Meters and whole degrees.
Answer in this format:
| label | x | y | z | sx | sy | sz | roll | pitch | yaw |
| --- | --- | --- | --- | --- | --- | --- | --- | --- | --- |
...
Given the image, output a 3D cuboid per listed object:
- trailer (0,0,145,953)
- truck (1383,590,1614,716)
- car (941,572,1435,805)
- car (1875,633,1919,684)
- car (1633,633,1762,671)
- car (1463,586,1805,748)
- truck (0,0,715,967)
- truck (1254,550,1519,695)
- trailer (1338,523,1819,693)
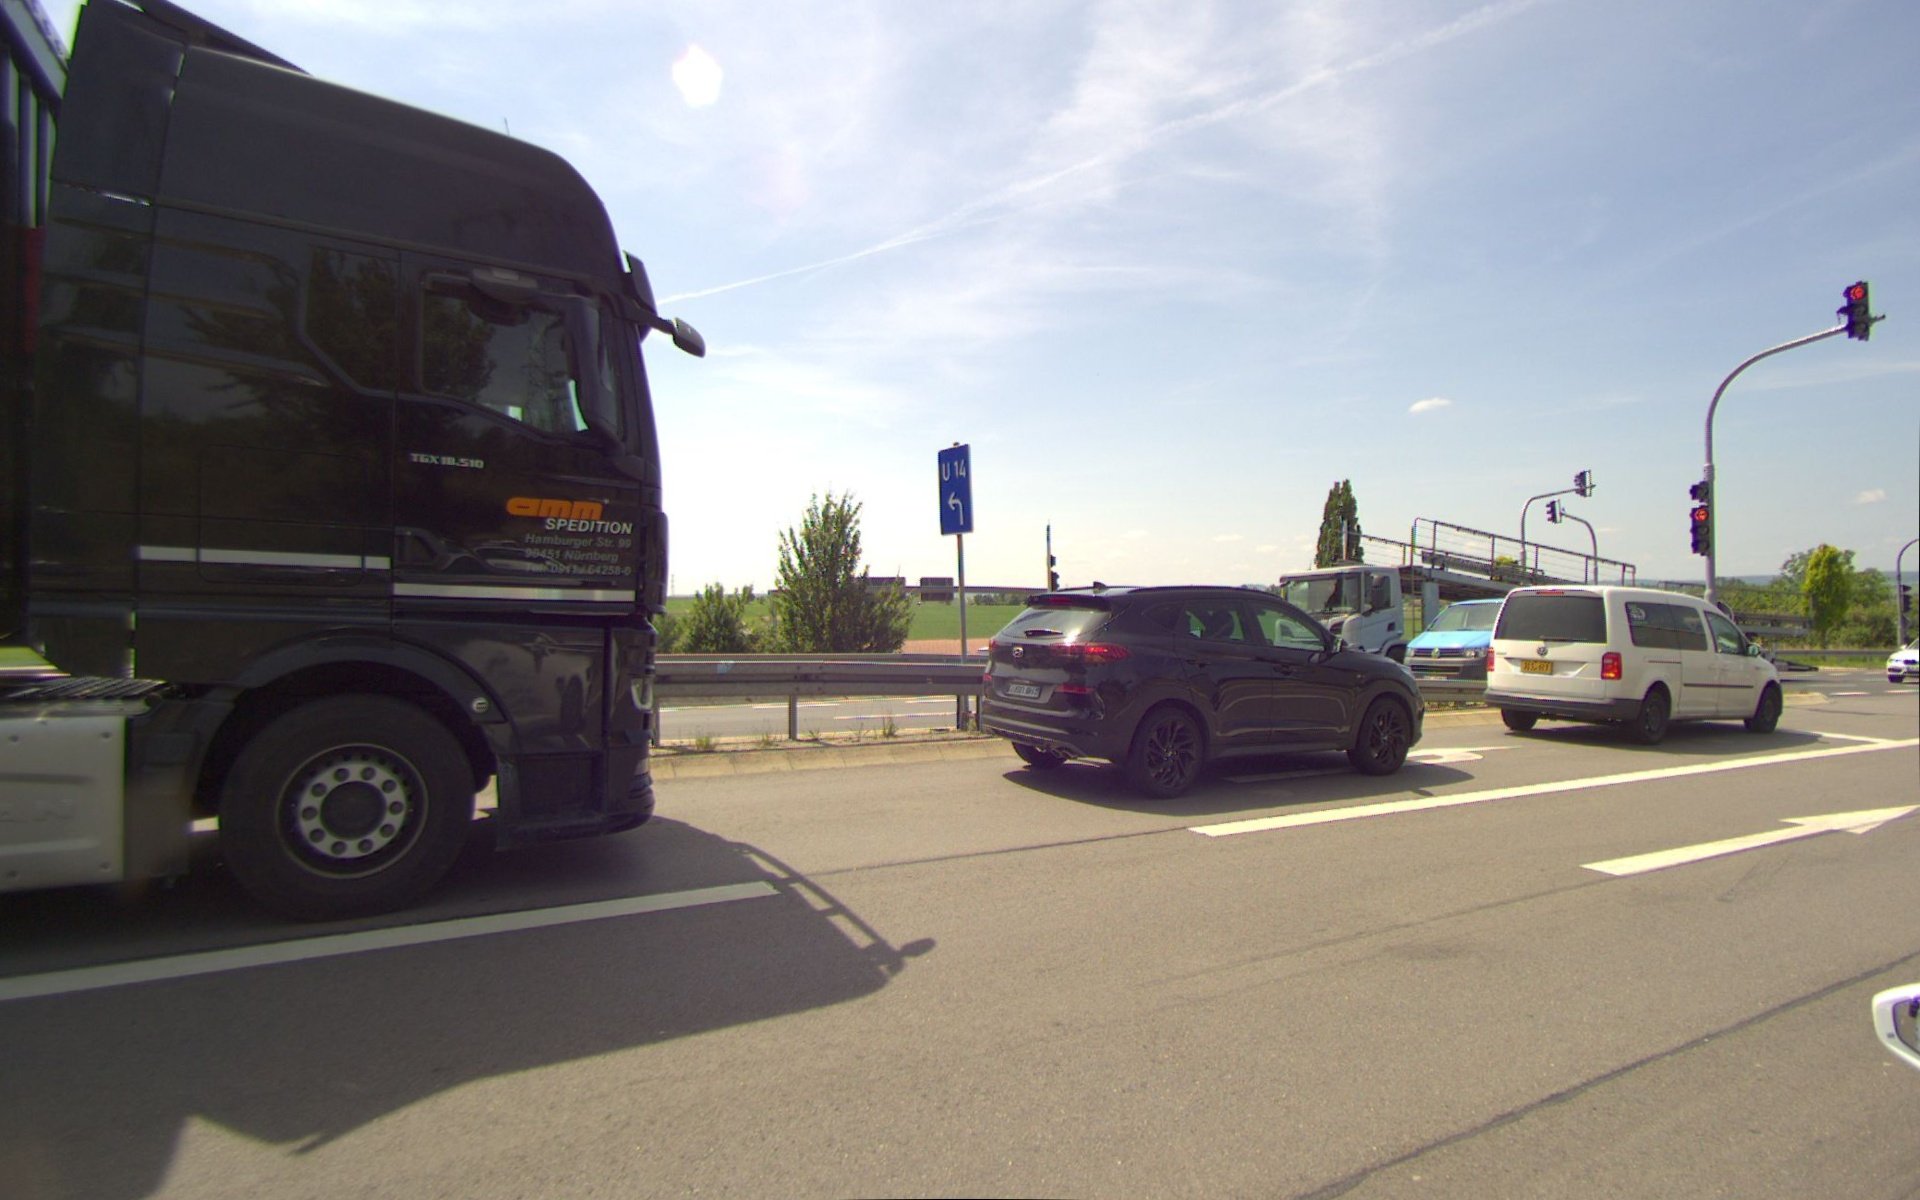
| label | x | y | z | sx | sy | sz | roll | pitch | yaw |
| --- | --- | --- | --- | --- | --- | --- | --- | --- | --- |
| trailer | -10.126 | -0.751 | 1.376 | 13.629 | 3.966 | 2.769 | 1 | 0 | -31 |
| truck | 10.520 | 1.006 | 19.550 | 4.572 | 2.185 | 1.956 | 2 | -2 | -32 |
| car | 2.149 | 0.666 | 9.130 | 4.298 | 1.679 | 1.846 | 1 | 0 | -31 |
| car | 29.514 | 1.768 | 30.266 | 3.953 | 1.452 | 1.764 | 2 | -2 | -30 |
| car | 33.525 | 2.344 | 45.794 | 4.406 | 1.479 | 1.633 | 2 | 0 | 21 |
| car | 8.899 | 0.791 | 13.172 | 4.693 | 1.822 | 1.760 | 1 | 0 | -29 |
| truck | -4.511 | -0.675 | 4.804 | 5.903 | 4.067 | 2.769 | 1 | 0 | -31 |
| truck | 10.180 | 0.581 | 23.873 | 5.918 | 3.053 | 2.787 | 2 | -1 | -30 |
| trailer | 18.525 | 0.486 | 28.616 | 19.562 | 3.813 | 2.627 | 2 | -1 | -30 |
